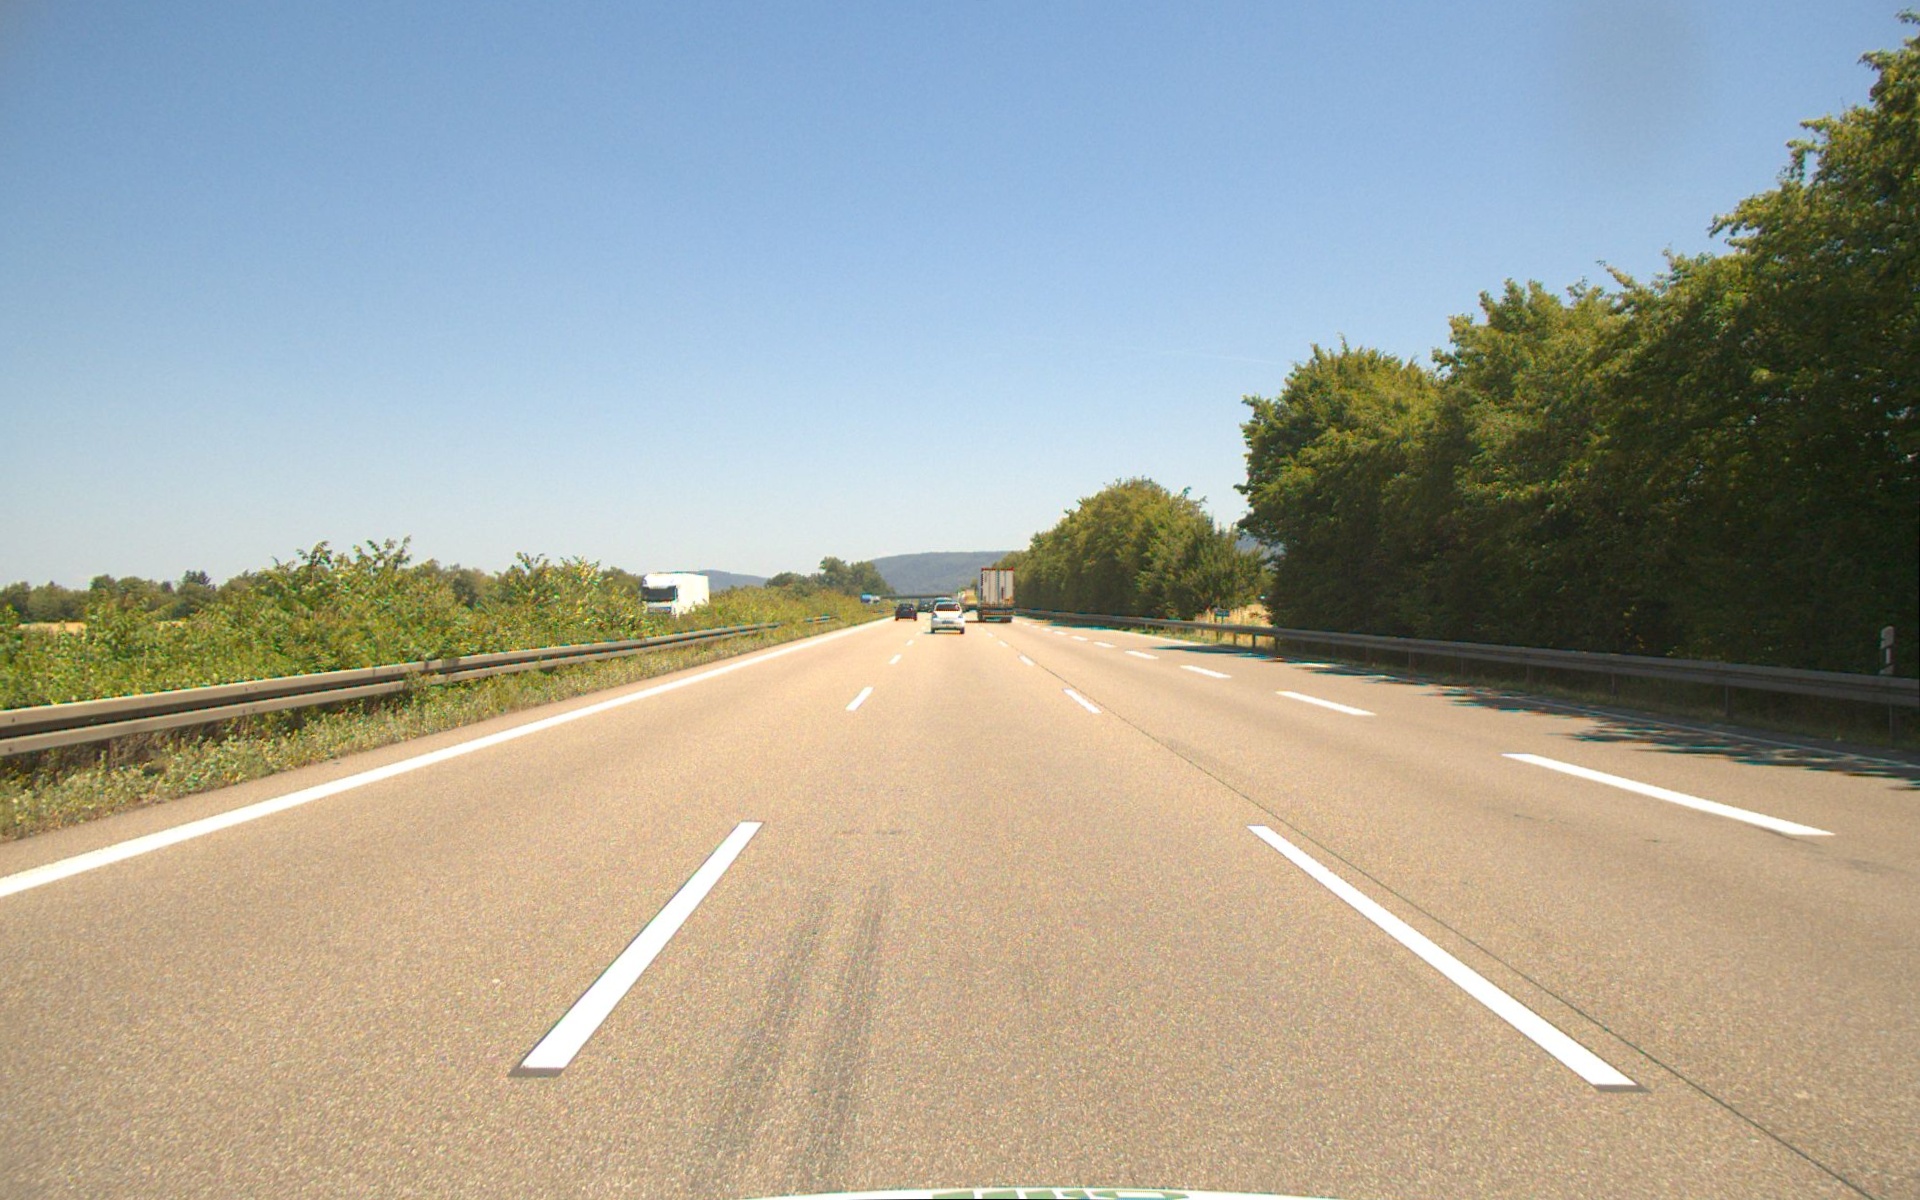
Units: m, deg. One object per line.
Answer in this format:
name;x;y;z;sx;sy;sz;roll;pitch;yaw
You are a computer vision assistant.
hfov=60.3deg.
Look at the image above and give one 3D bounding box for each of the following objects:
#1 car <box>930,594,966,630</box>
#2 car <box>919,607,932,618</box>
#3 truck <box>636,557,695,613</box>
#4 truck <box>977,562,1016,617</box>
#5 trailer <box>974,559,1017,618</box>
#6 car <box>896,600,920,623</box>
car;-0.621;0.572;82.017;1.697;1.713;3.999;-1;0;-2
car;-4.984;1.773;238.851;1.759;1.578;3.999;0;-1;-1
truck;-20.791;-1.030;117.223;3.115;3.763;6.034;1;0;-1
truck;3.081;-0.827;138.891;3.151;4.421;6.591;1;0;2
trailer;2.875;-0.852;131.536;3.151;4.421;13.631;1;0;2
car;-4.185;0.909;133.600;1.953;1.742;3.999;1;0;-2
